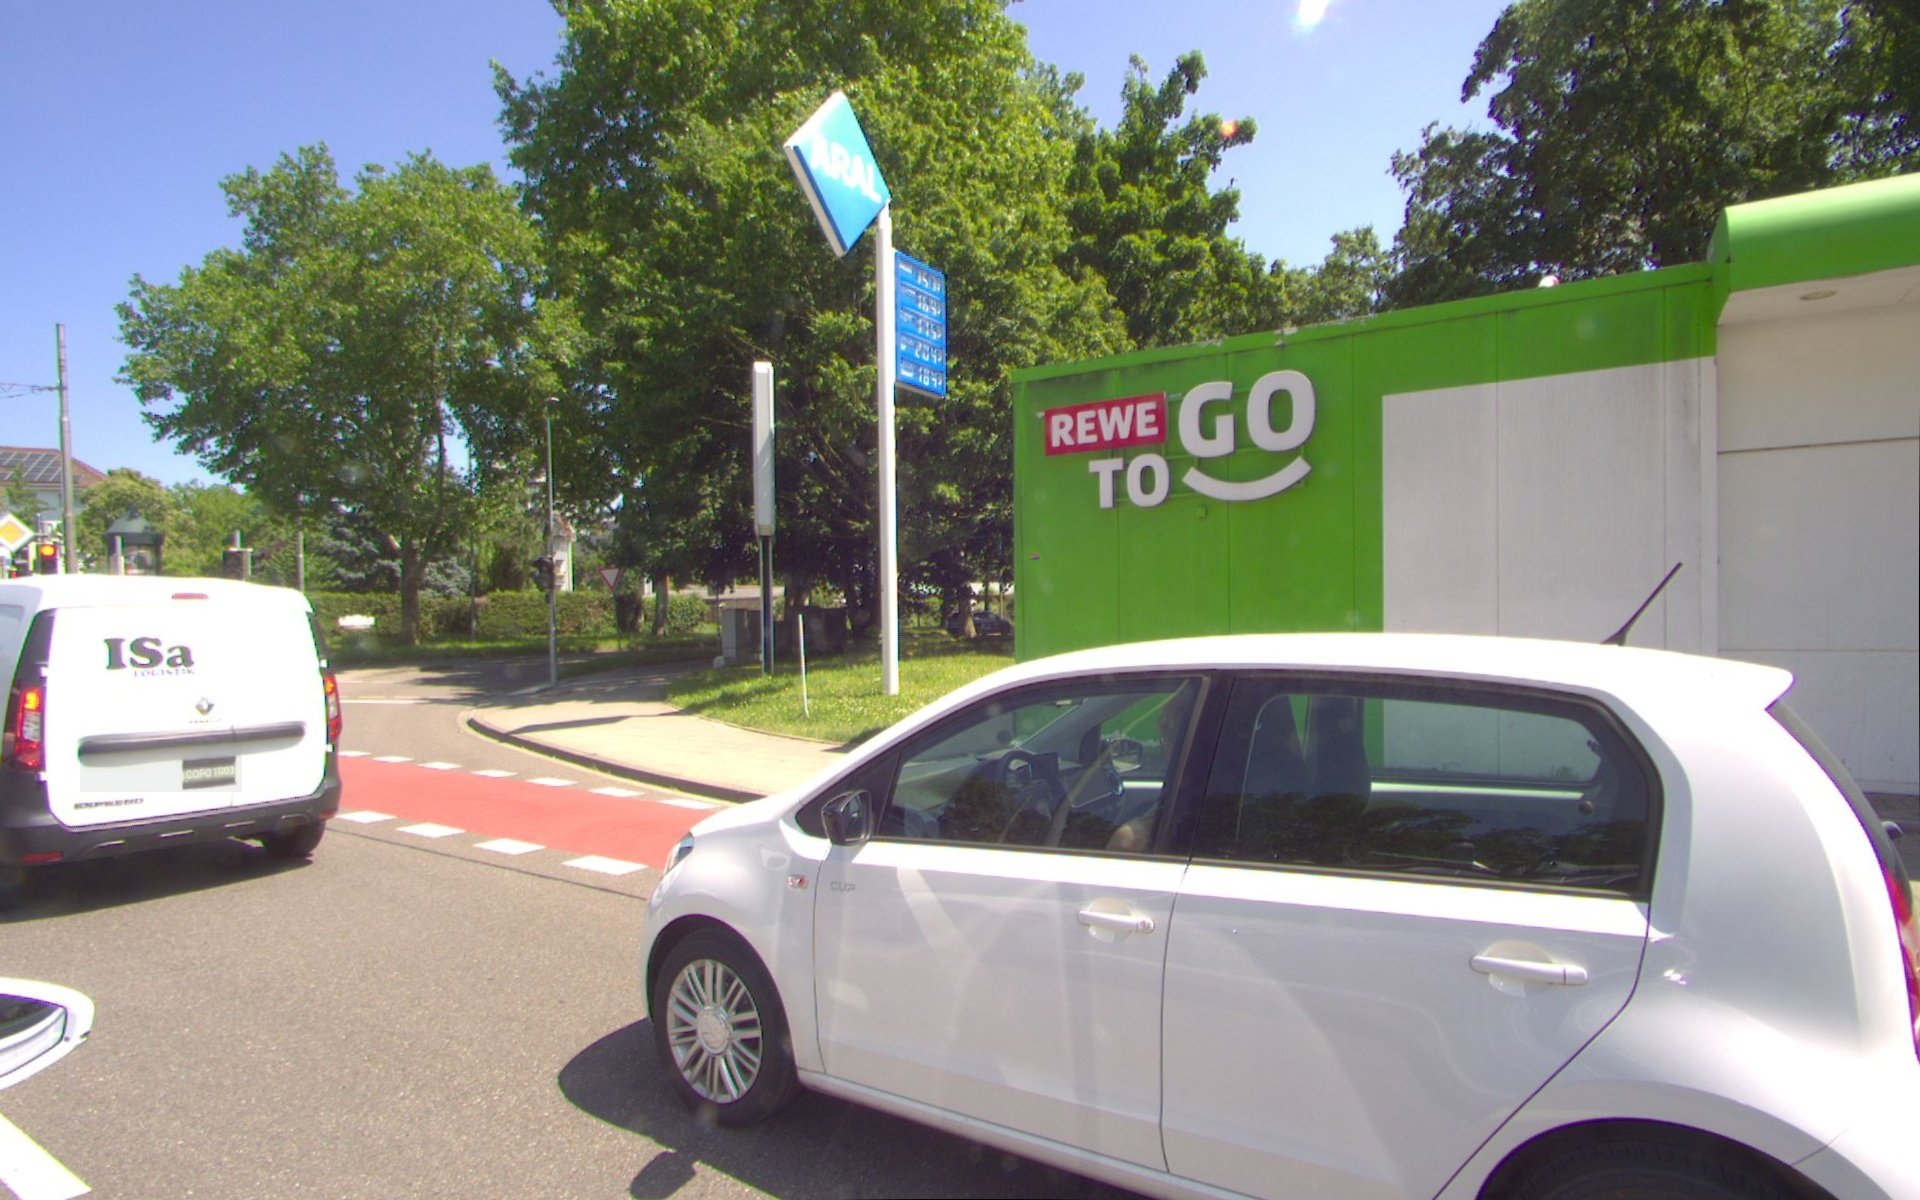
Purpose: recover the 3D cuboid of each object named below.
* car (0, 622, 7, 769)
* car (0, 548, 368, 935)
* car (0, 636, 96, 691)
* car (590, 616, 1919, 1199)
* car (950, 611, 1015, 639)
[{"bbox_3d":[-11.940,0.985,10.619,3.943,1.505,1.753,-1,-2,33],"label":"car"},{"bbox_3d":[-5.840,0.724,6.572,3.954,1.854,1.708,-1,-1,31],"label":"car"},{"bbox_3d":[-25.801,1.719,26.773,3.831,1.329,1.686,-2,1,-33],"label":"car"},{"bbox_3d":[0.668,0.799,2.997,3.472,1.470,1.603,-1,0,34],"label":"car"},{"bbox_3d":[1.385,1.466,60.511,1.976,1.617,3.970,-1,-1,39],"label":"car"}]
